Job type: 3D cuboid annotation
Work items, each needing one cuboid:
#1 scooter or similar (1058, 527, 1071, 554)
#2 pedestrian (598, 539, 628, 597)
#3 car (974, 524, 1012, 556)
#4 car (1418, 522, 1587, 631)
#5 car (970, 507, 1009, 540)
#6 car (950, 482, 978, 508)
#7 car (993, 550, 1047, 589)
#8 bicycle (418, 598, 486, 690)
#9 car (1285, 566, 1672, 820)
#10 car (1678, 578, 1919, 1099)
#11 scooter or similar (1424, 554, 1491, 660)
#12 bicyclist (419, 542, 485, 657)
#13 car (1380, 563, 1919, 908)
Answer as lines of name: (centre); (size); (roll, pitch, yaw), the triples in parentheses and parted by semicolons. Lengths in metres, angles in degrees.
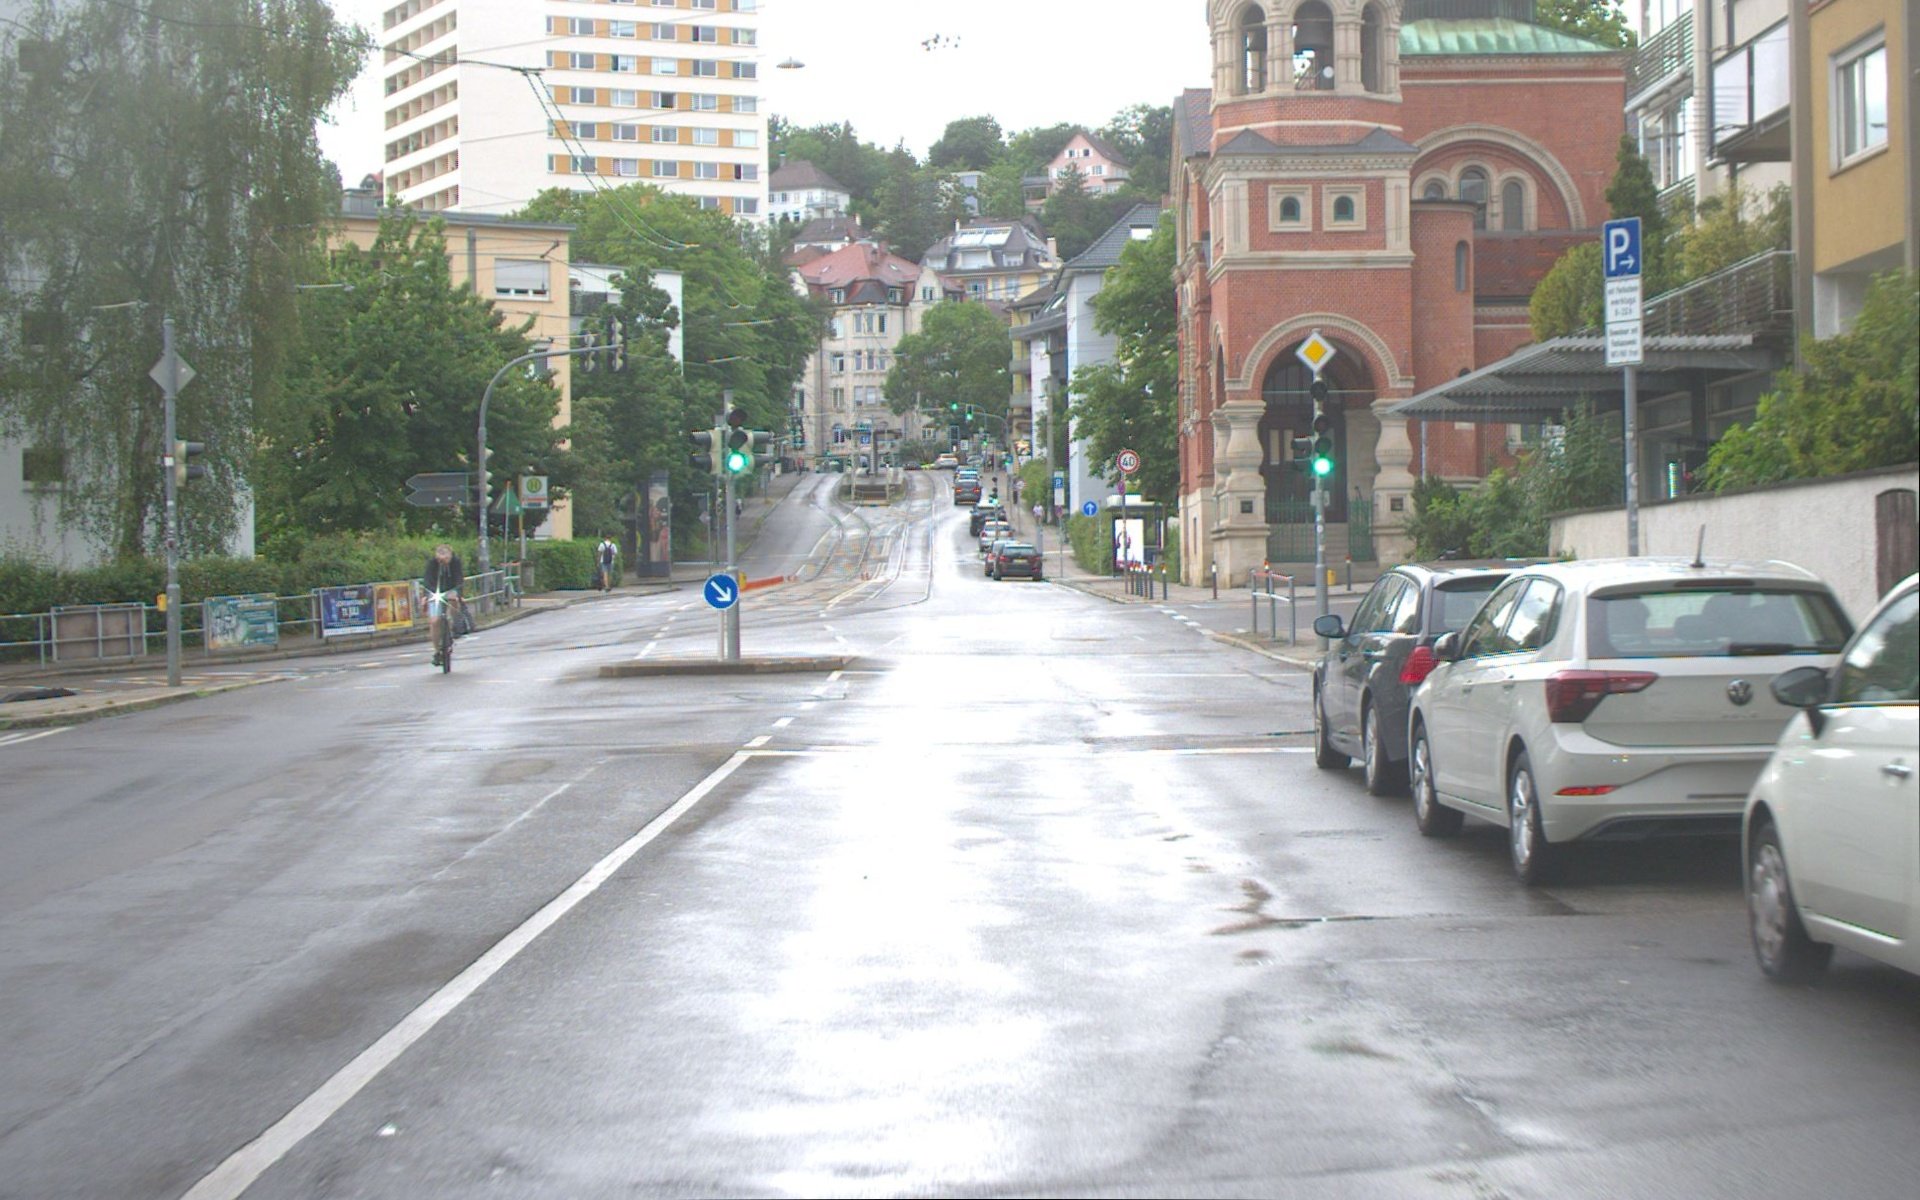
scooter or similar: (5.197, -2.971, 170.987); (0.575, 1.245, 1.610); (0, 5, 5)
pedestrian: (-11.155, -1.023, 110.586); (0.918, 1.839, 1.017); (1, 0, -4)
car: (1.612, -2.981, 170.355); (1.704, 1.428, 4.102); (1, 3, -1)
car: (8.418, -0.329, 53.663); (1.853, 1.498, 4.449); (-4, -1, 0)
car: (1.590, -4.177, 186.753); (1.906, 1.636, 4.690); (1, 3, -1)
car: (0.267, -6.902, 226.715); (1.802, 1.640, 4.000); (0, 1, 1)
car: (2.321, -1.184, 133.901); (1.858, 1.482, 4.645); (0, 1, -2)
bicycle: (-6.558, 0.563, 44.459); (0.824, 1.144, 2.127); (-1, 0, -8)
car: (3.185, 0.550, 21.953); (1.730, 1.455, 4.478); (0, 0, -1)
car: (3.494, 0.675, 10.785); (1.686, 1.448, 3.554); (0, 0, -1)
scooter or similar: (6.523, 0.076, 45.124); (0.534, 1.323, 1.659); (-5, 0, 1)
bicyclist: (-6.568, 0.000, 44.473); (0.824, 1.457, 1.140); (0, -1, -7)
car: (3.187, 0.590, 16.618); (1.647, 1.455, 4.102); (0, 0, -2)
